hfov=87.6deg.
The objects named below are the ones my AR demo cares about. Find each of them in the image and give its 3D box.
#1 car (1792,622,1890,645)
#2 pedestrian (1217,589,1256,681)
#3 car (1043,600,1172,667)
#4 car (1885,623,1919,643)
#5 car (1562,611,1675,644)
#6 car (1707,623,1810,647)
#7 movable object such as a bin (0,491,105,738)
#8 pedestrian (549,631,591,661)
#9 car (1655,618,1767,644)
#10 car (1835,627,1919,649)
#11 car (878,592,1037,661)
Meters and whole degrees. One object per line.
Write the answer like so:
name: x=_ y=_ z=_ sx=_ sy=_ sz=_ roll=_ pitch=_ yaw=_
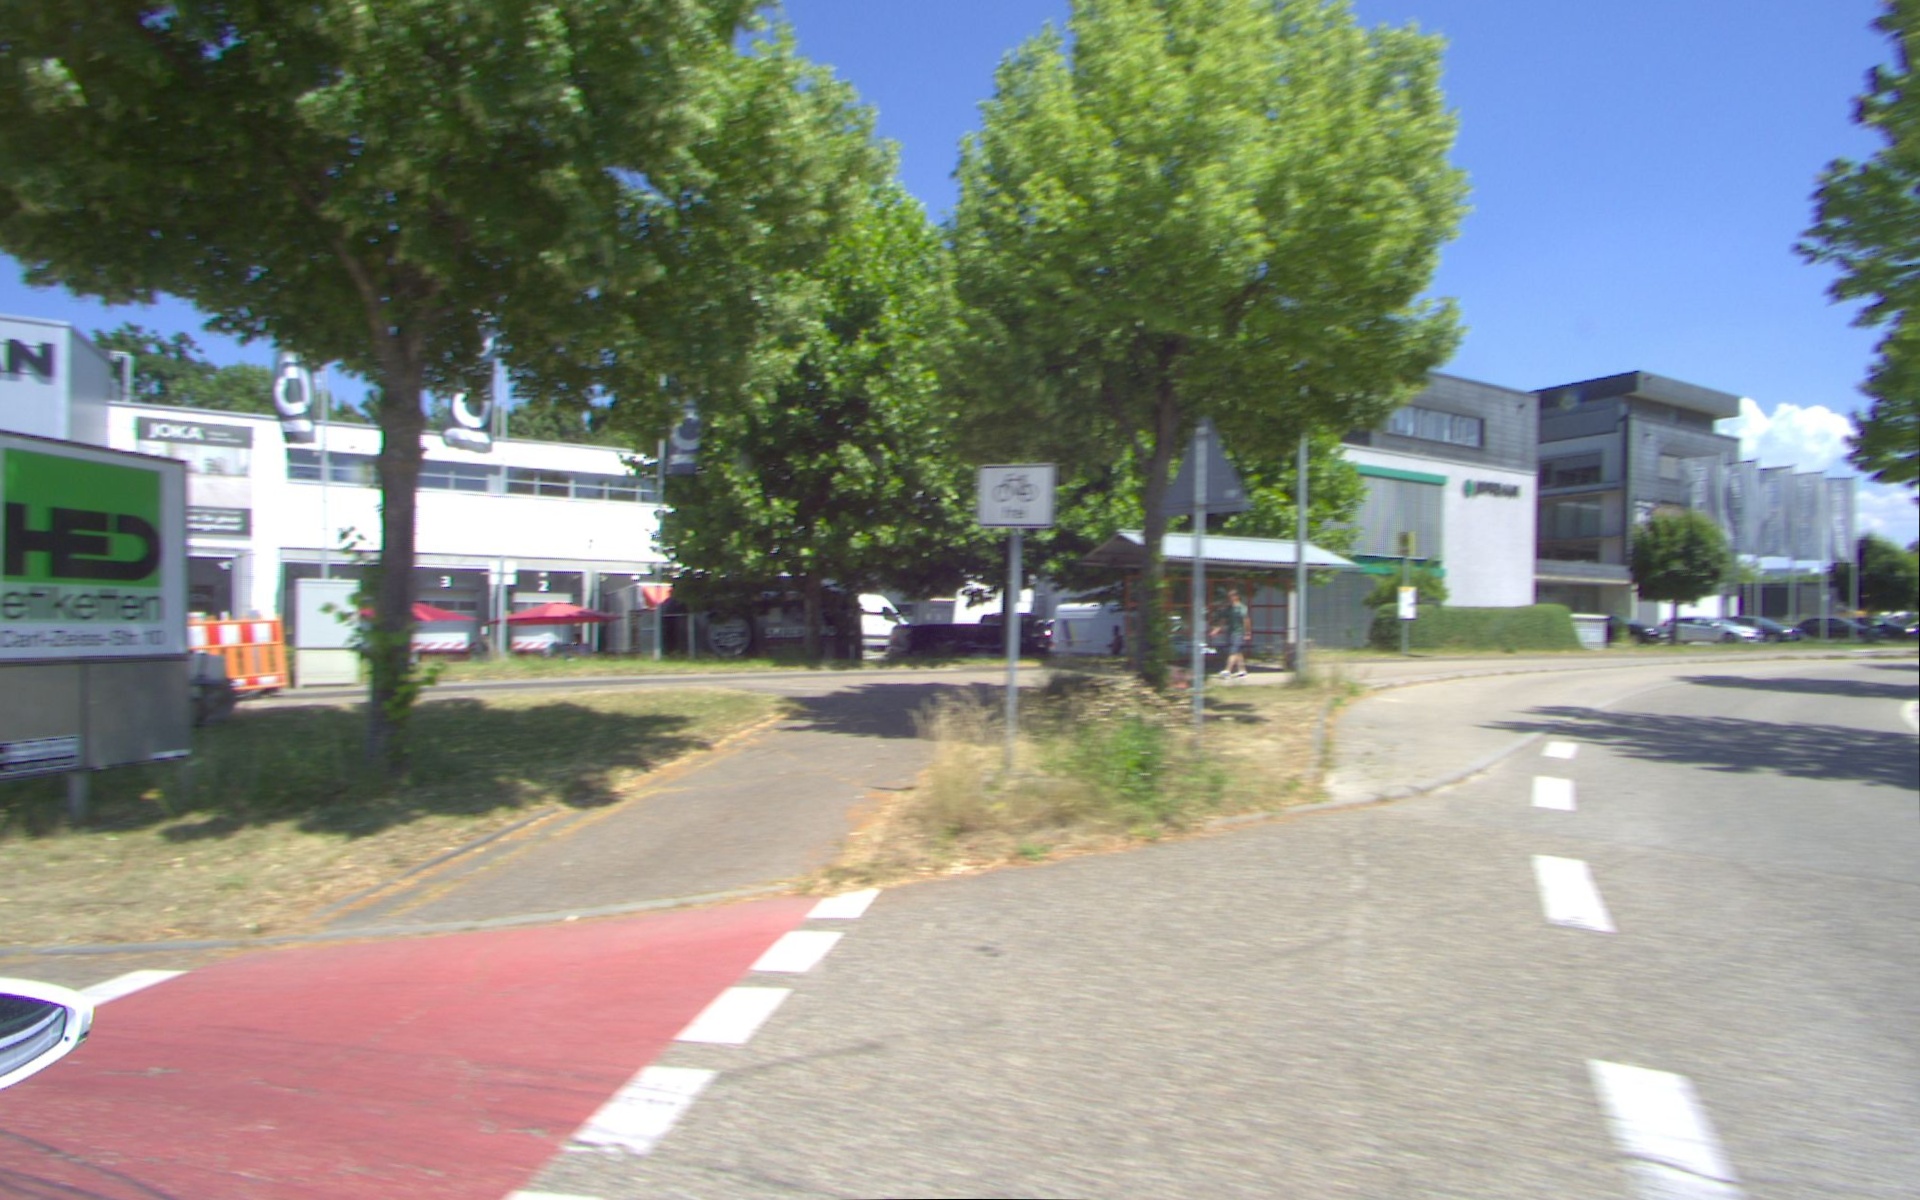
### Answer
car: x=50.141 y=1.886 z=57.073 sx=1.681 sy=1.290 sz=3.872 roll=0 pitch=-1 yaw=-30
pedestrian: x=5.240 y=0.672 z=18.981 sx=0.520 sy=1.690 sz=0.580 roll=2 pitch=-2 yaw=-2
car: x=4.772 y=1.112 z=32.923 sx=1.533 sy=2.038 sz=4.230 roll=4 pitch=-4 yaw=-40
car: x=62.970 y=2.152 z=65.072 sx=1.681 sy=1.290 sz=3.872 roll=0 pitch=-1 yaw=-30
car: x=29.458 y=1.232 z=44.896 sx=1.681 sy=1.397 sz=3.898 roll=0 pitch=-1 yaw=-30
car: x=41.876 y=1.813 z=52.591 sx=1.681 sy=1.198 sz=3.872 roll=0 pitch=-1 yaw=-30
movable object such as a bin: x=-13.250 y=0.248 z=10.229 sx=6.472 sy=2.615 sz=1.993 roll=-2 pitch=0 yaw=-25
pedestrian: x=-9.375 y=1.107 z=24.075 sx=0.850 sy=0.704 sz=0.407 roll=0 pitch=0 yaw=-6
car: x=37.475 y=1.586 z=50.051 sx=1.473 sy=1.197 sz=4.255 roll=3 pitch=-4 yaw=-30
car: x=55.709 y=2.281 z=60.537 sx=1.681 sy=1.290 sz=3.872 roll=0 pitch=-1 yaw=-30
car: x=-0.064 y=0.680 z=27.163 sx=3.940 sy=1.750 sz=1.832 roll=0 pitch=-1 yaw=-28
